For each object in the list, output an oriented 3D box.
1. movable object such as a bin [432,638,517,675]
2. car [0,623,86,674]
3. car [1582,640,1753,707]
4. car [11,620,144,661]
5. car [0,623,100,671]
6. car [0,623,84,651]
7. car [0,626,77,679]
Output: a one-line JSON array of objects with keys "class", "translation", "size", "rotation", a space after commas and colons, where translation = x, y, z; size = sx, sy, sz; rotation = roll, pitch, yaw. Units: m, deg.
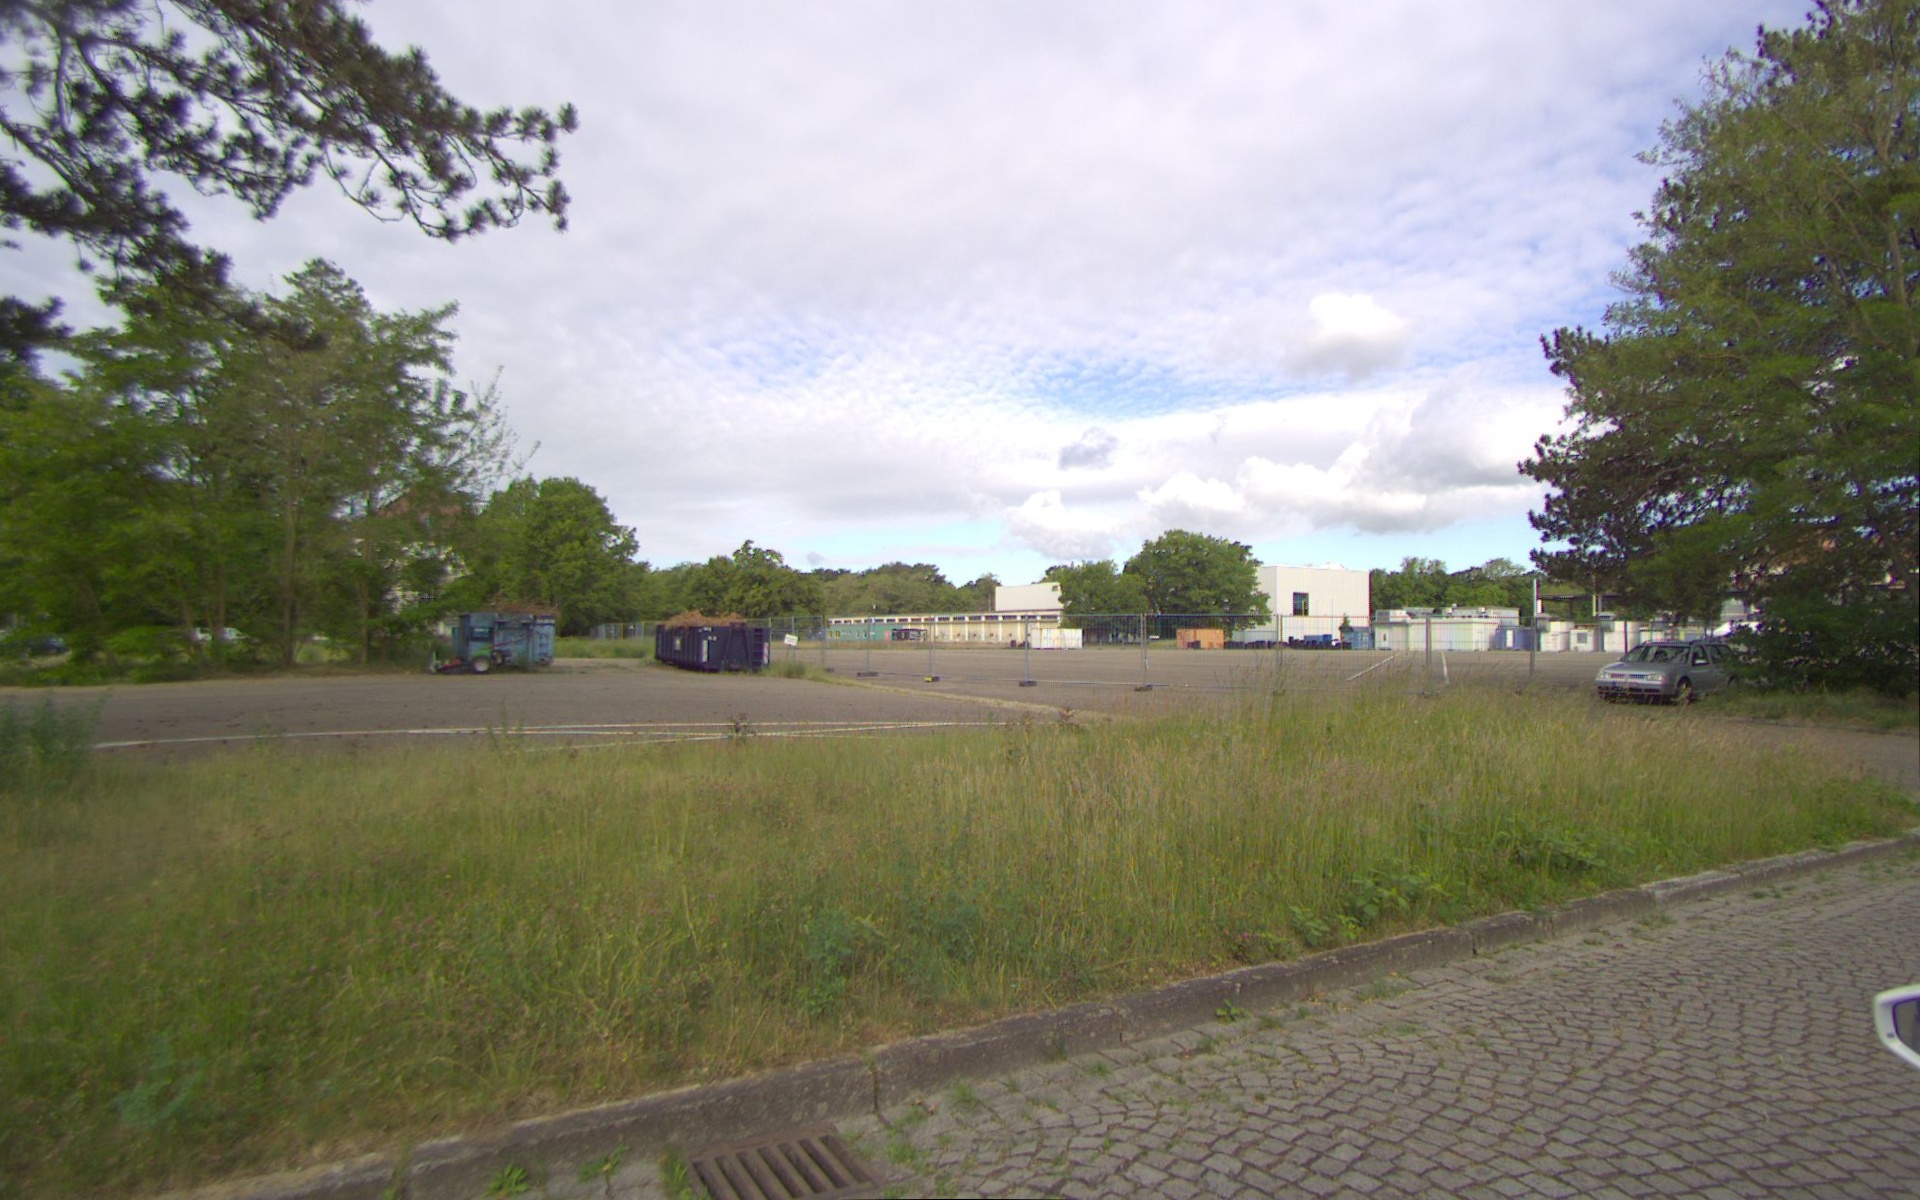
[{"class": "movable object such as a bin", "translation": [-13.771, 1.594, 28.486], "size": [1.940, 0.982, 1.433], "rotation": [2, -2, -37]}, {"class": "car", "translation": [-29.200, 1.465, 30.659], "size": [3.554, 1.495, 1.666], "rotation": [2, -2, -33]}, {"class": "car", "translation": [17.000, 1.701, 24.080], "size": [4.372, 1.435, 1.815], "rotation": [2, -2, -32]}, {"class": "car", "translation": [-33.653, 1.553, 38.417], "size": [3.554, 1.495, 1.666], "rotation": [2, -2, -33]}, {"class": "car", "translation": [-30.163, 1.506, 32.315], "size": [3.554, 1.495, 1.666], "rotation": [2, -2, -33]}, {"class": "car", "translation": [-60.414, 2.419, 65.521], "size": [4.515, 1.745, 1.821], "rotation": [1, -2, -22]}, {"class": "car", "translation": [-28.050, 1.501, 28.995], "size": [3.554, 1.495, 1.666], "rotation": [2, -2, -33]}]
